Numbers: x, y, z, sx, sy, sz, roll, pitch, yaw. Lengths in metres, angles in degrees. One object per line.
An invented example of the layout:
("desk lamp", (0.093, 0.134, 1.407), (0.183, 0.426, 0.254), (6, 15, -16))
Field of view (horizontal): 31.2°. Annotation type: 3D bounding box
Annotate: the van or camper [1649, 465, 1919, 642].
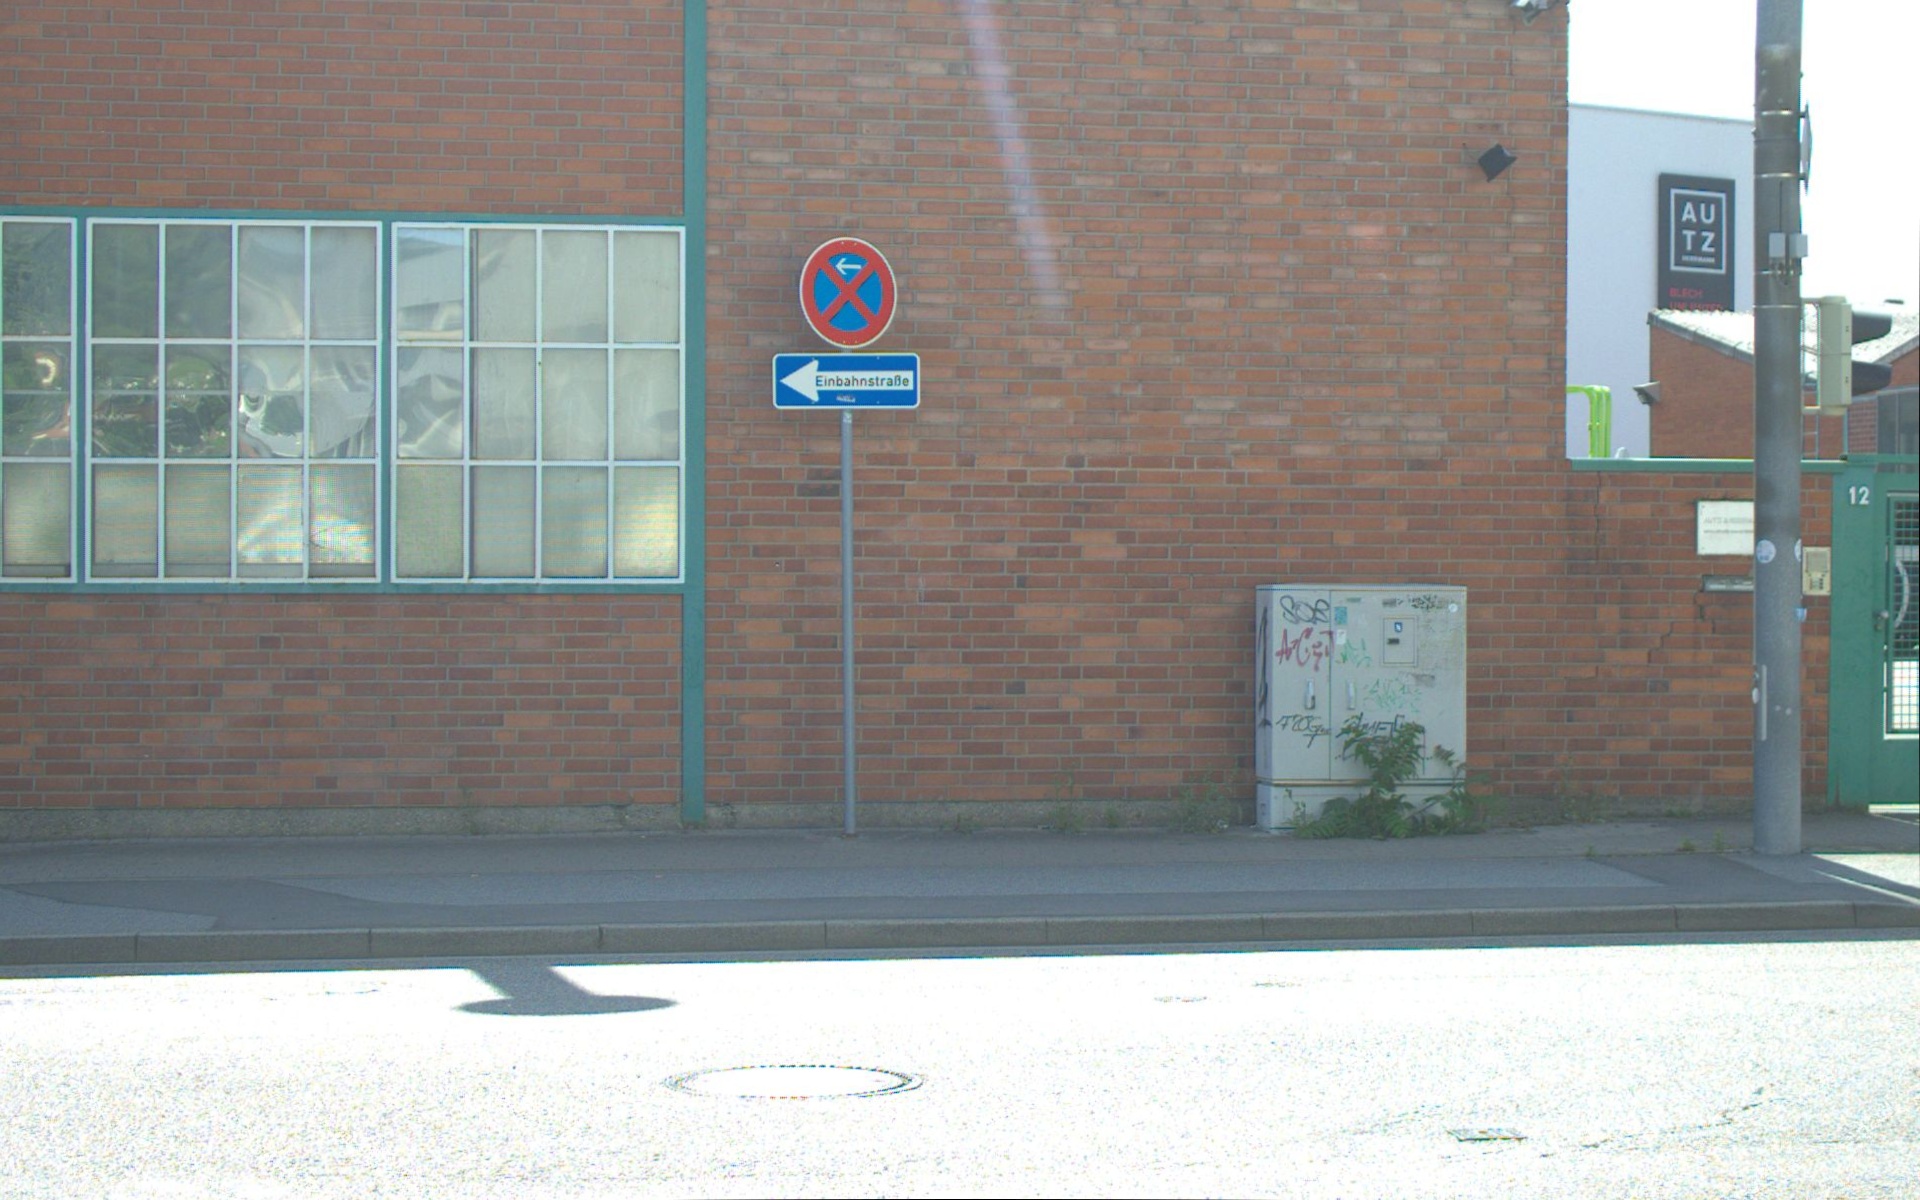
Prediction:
("van or camper", (10.354, -0.498, 39.882), (4.407, 1.894, 2.000), (2, 0, -32))
